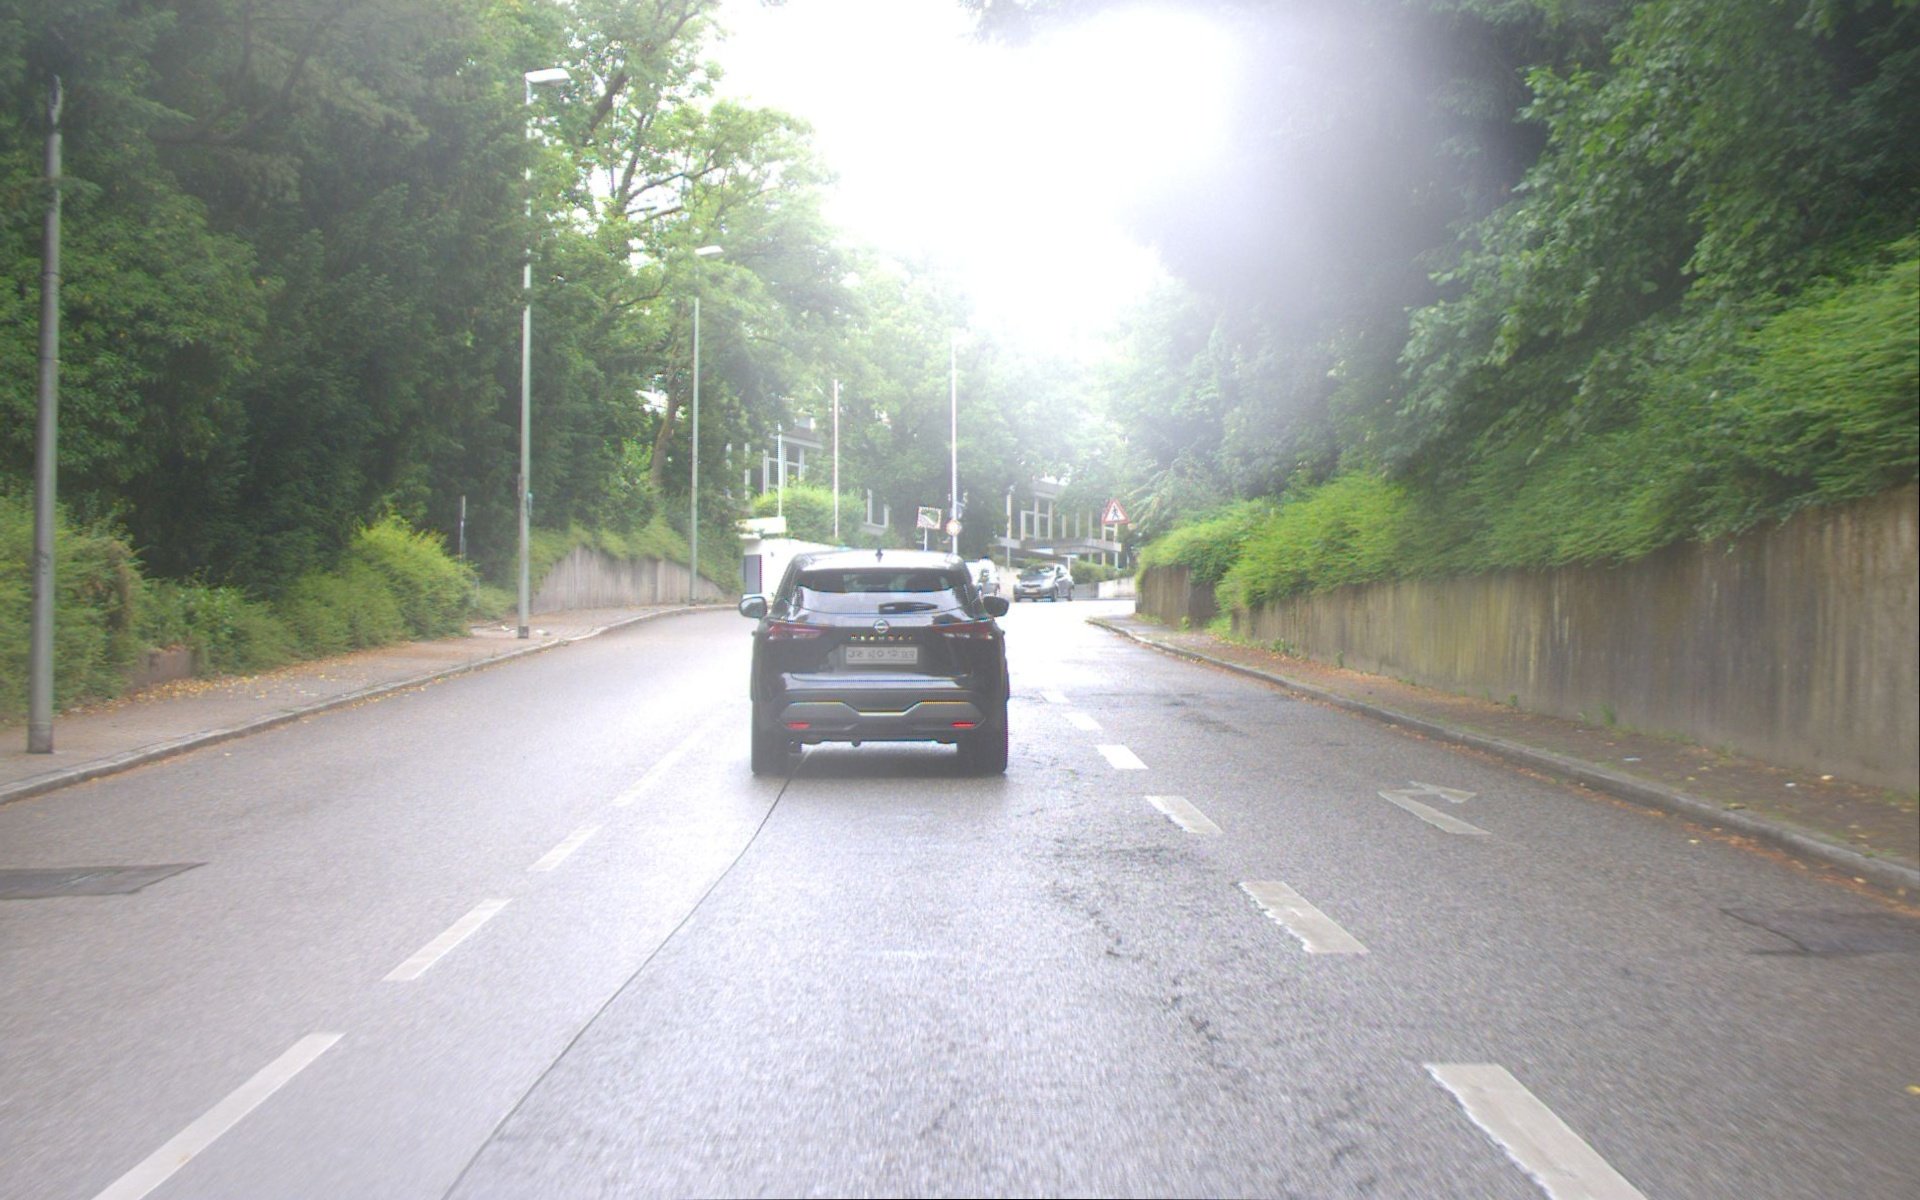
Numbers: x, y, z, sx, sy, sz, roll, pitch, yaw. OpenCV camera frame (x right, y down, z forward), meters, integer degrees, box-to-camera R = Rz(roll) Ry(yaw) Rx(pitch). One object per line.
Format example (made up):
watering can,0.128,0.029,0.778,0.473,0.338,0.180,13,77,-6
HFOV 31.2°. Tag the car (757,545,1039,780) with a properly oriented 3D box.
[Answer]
car,-0.457,0.399,25.524,1.928,1.607,4.000,0,1,-1

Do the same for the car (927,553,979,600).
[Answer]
car,-0.248,-0.880,127.109,1.830,1.705,4.000,0,1,1

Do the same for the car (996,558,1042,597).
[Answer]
car,2.317,-0.892,136.062,1.675,1.491,3.460,0,1,-1
